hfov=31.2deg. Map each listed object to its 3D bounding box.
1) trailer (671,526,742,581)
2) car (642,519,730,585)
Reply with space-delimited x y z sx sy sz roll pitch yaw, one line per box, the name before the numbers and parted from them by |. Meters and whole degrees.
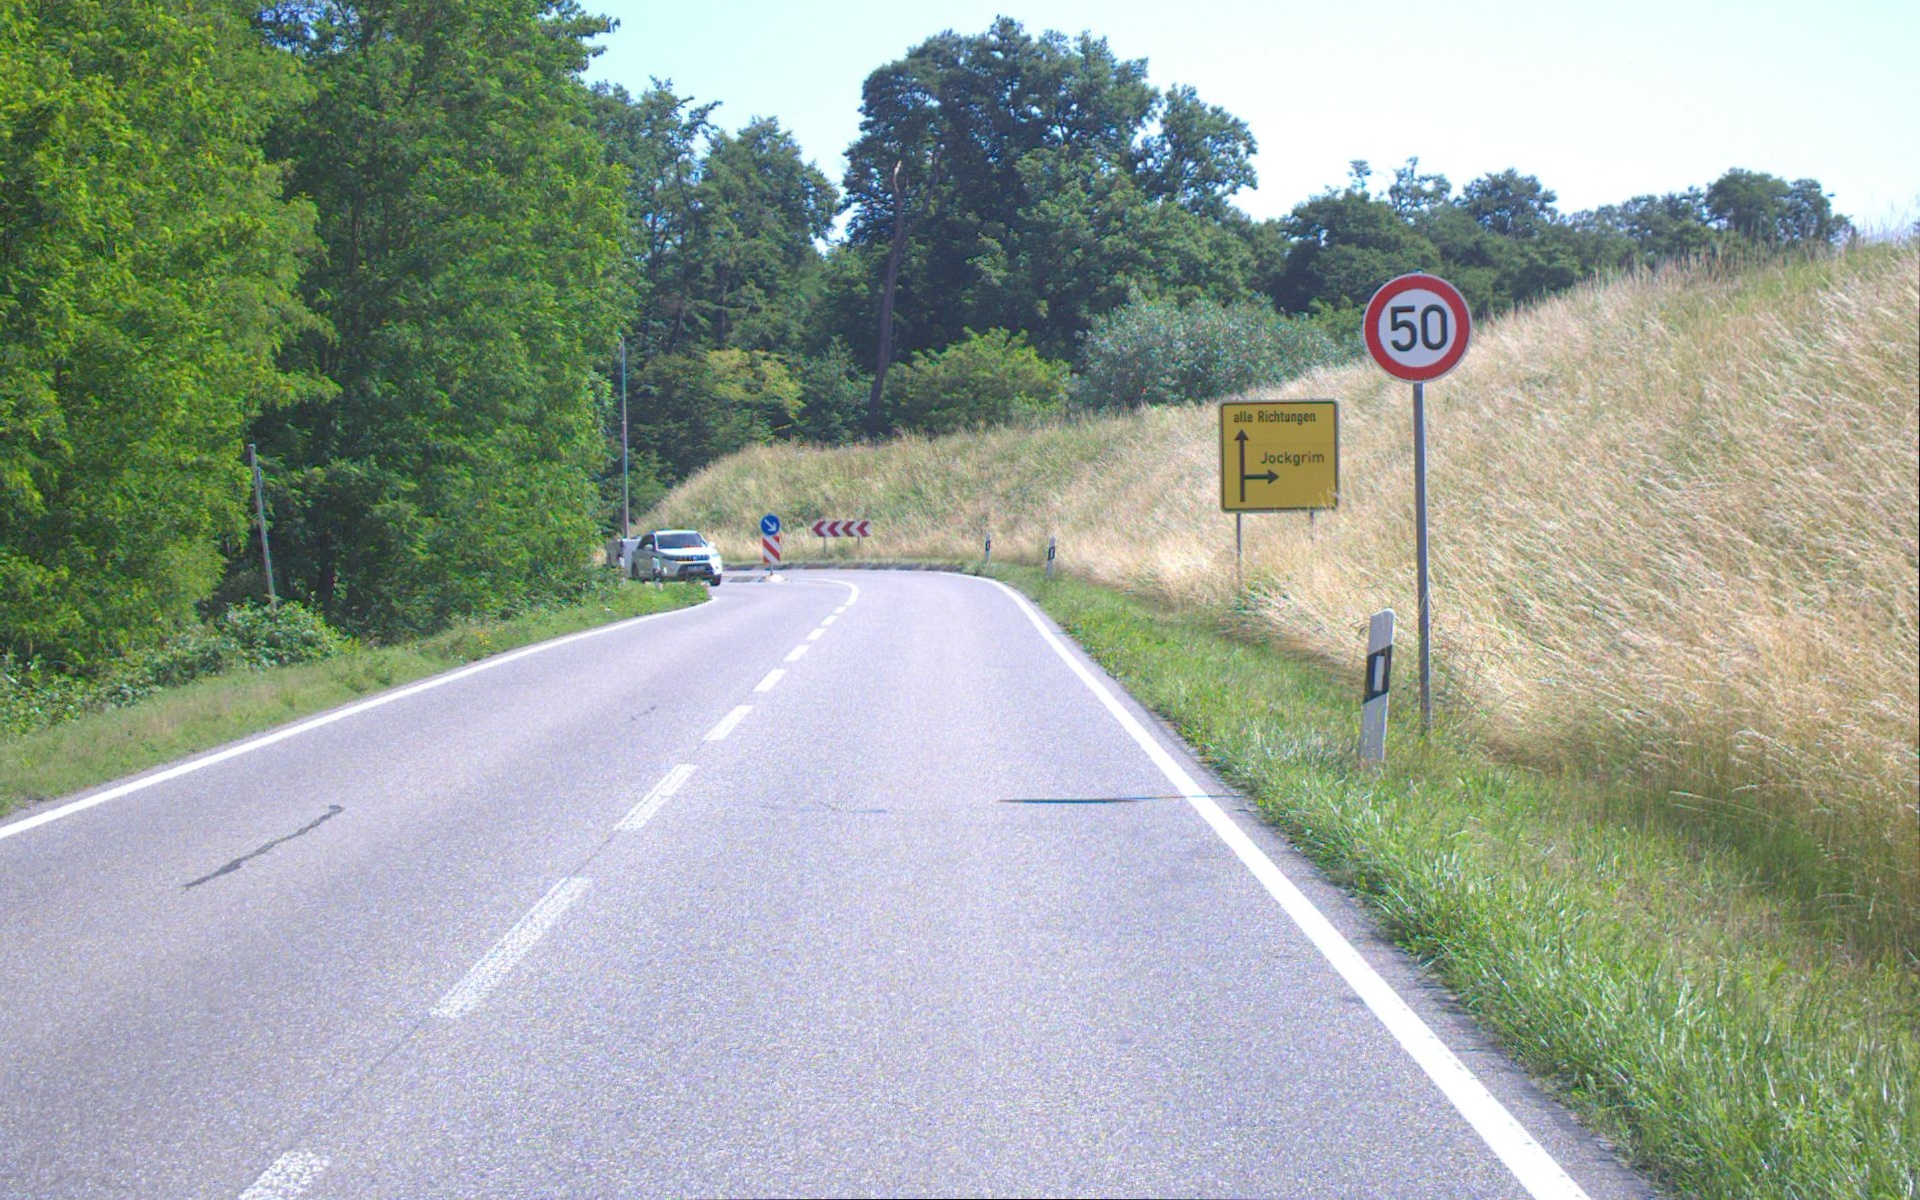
trailer | -7.272 -1.339 98.788 1.559 1.436 3.268 -4 1 3
car | -7.547 -1.348 95.131 1.810 1.671 4.000 -4 1 3
